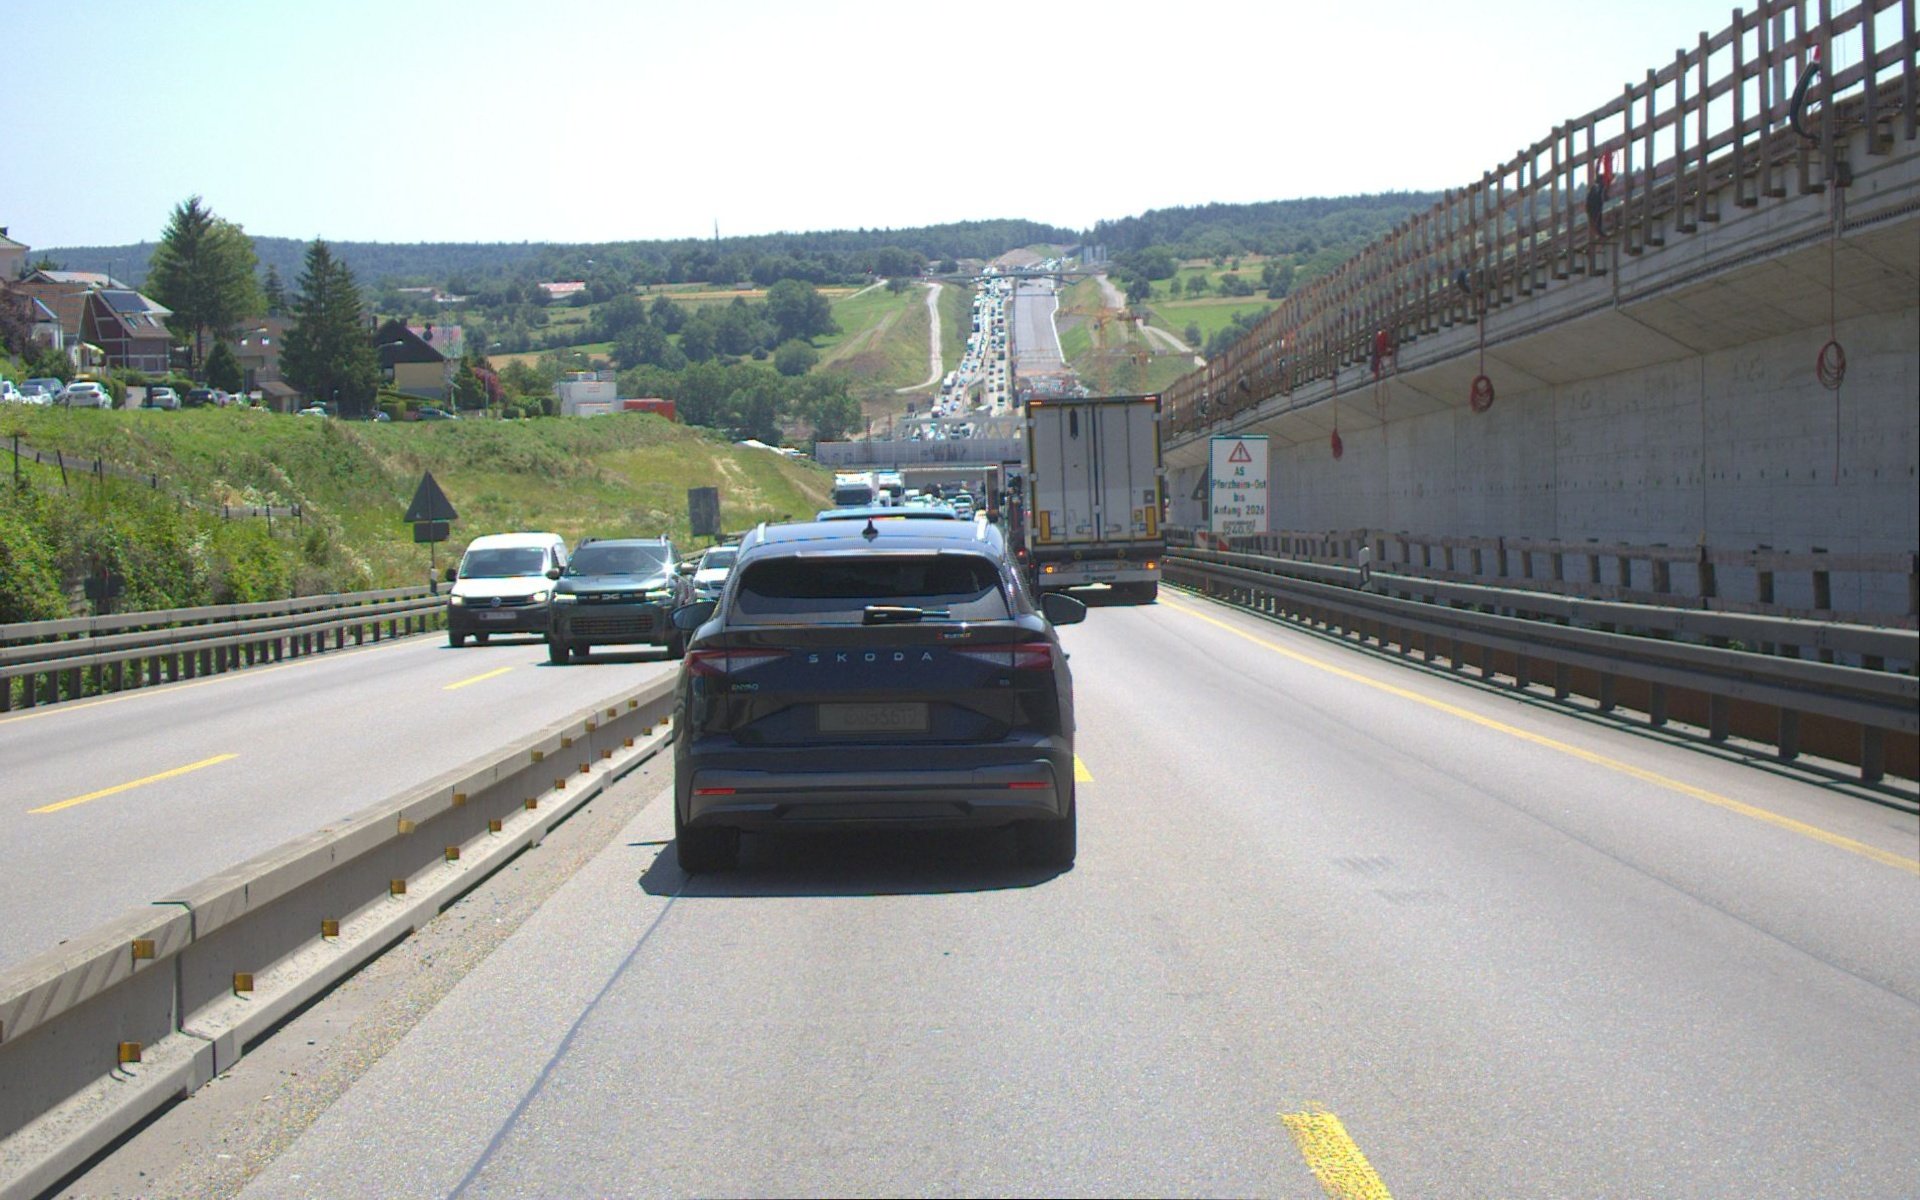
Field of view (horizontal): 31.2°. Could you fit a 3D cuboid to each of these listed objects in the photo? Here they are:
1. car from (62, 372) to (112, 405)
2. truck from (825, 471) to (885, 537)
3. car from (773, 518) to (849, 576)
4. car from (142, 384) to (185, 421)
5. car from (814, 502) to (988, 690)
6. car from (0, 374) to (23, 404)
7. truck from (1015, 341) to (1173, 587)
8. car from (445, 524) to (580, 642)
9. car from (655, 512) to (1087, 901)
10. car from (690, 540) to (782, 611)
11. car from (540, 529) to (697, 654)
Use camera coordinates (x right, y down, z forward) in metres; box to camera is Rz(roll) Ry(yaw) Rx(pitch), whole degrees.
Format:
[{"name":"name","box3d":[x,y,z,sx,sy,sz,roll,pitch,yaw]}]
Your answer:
[{"name":"car","box3d":[-41.460,-10.033,163.336,1.993,1.315,4.001,1,1,-11]},{"name":"truck","box3d":[-7.066,-6.417,230.562,3.179,4.223,6.486,-2,1,-8]},{"name":"car","box3d":[-4.071,-1.434,94.540,1.606,1.441,4.669,-4,0,2]},{"name":"car","box3d":[-42.362,-10.497,182.936,1.924,1.722,4.001,-2,1,-10]},{"name":"car","box3d":[-0.664,-0.076,36.528,1.749,1.889,3.755,0,1,-2]},{"name":"car","box3d":[-38.086,-8.340,136.149,1.280,1.035,3.276,-2,1,-5]},{"name":"truck","box3d":[2.641,-2.632,71.103,2.846,4.599,11.811,-1,0,1]},{"name":"car","box3d":[-7.442,-0.299,57.513,1.596,1.827,4.753,-2,1,0]},{"name":"car","box3d":[-0.405,0.420,16.546,1.782,1.592,3.755,-2,1,-1]},{"name":"car","box3d":[-4.702,-0.523,72.682,1.732,1.433,4.259,0,1,-1]},{"name":"car","box3d":[-4.658,-0.153,47.377,1.774,1.628,4.100,-1,1,-1]}]
